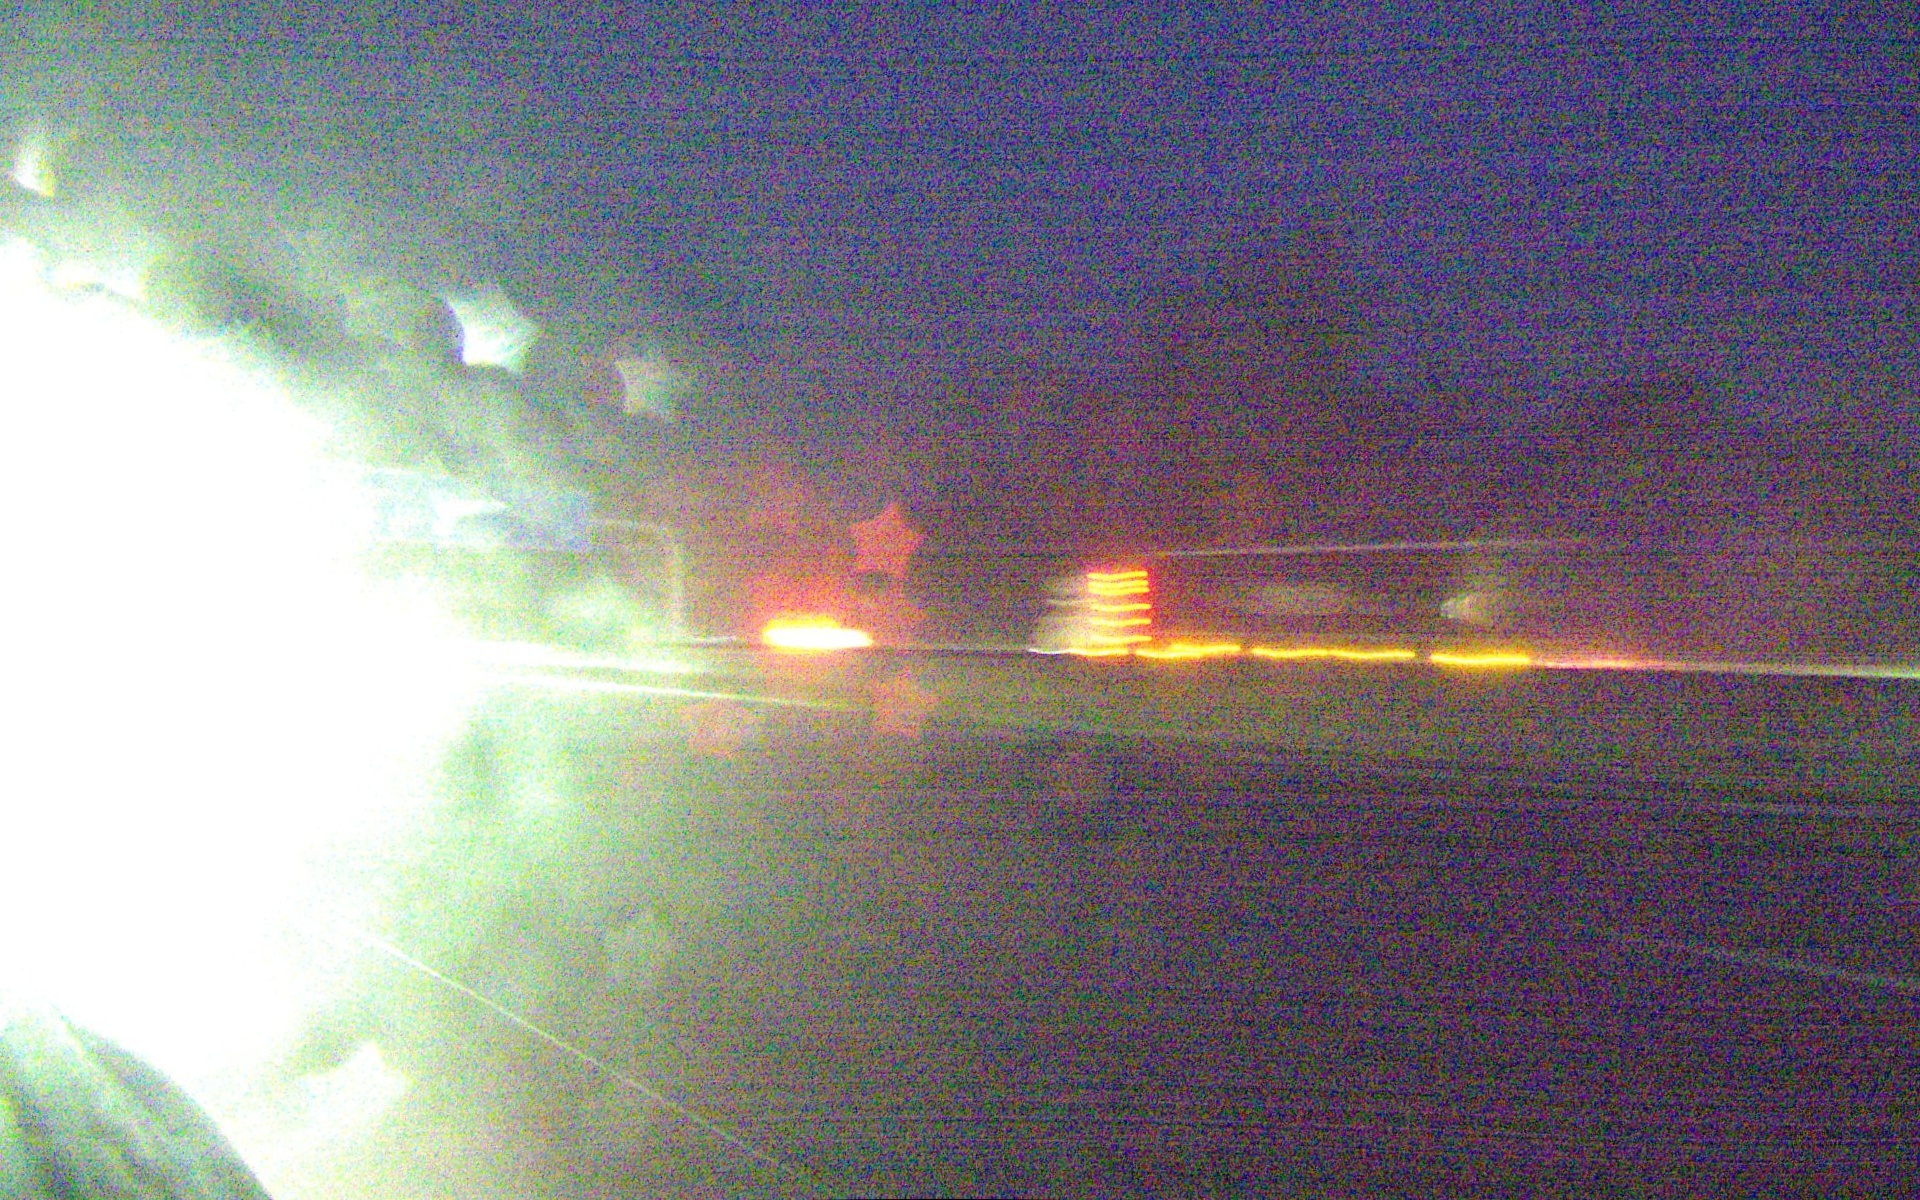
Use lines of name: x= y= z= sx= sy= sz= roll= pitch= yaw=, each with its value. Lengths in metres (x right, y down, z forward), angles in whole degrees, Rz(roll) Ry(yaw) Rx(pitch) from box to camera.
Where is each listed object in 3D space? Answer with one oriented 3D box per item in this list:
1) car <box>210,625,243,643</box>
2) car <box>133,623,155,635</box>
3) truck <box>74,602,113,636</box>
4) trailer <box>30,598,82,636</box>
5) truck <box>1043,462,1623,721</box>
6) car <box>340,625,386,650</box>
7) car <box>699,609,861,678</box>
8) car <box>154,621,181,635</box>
car: x=-71.432 y=3.283 z=98.544 sx=3.998 sy=1.584 sz=1.781 roll=-1 pitch=0 yaw=41
car: x=-109.577 y=3.918 z=135.939 sx=3.998 sy=1.524 sz=1.639 roll=-1 pitch=0 yaw=41
truck: x=-146.097 y=3.158 z=170.597 sx=12.790 sy=5.634 sz=3.205 roll=-1 pitch=0 yaw=41
trailer: x=-128.730 y=2.357 z=144.069 sx=14.794 sy=5.065 sz=3.749 roll=-1 pitch=0 yaw=41
truck: x=10.580 y=-0.172 z=32.193 sx=17.295 sy=6.460 sz=3.189 roll=-1 pitch=0 yaw=41
car: x=-43.646 y=2.725 z=73.981 sx=3.998 sy=1.702 sz=1.743 roll=-1 pitch=0 yaw=41
car: x=-5.596 y=1.250 z=30.966 sx=5.267 sy=1.904 sz=2.052 roll=-1 pitch=0 yaw=41
car: x=-89.375 y=3.168 z=114.085 sx=3.998 sy=1.524 sz=1.639 roll=-1 pitch=0 yaw=41
